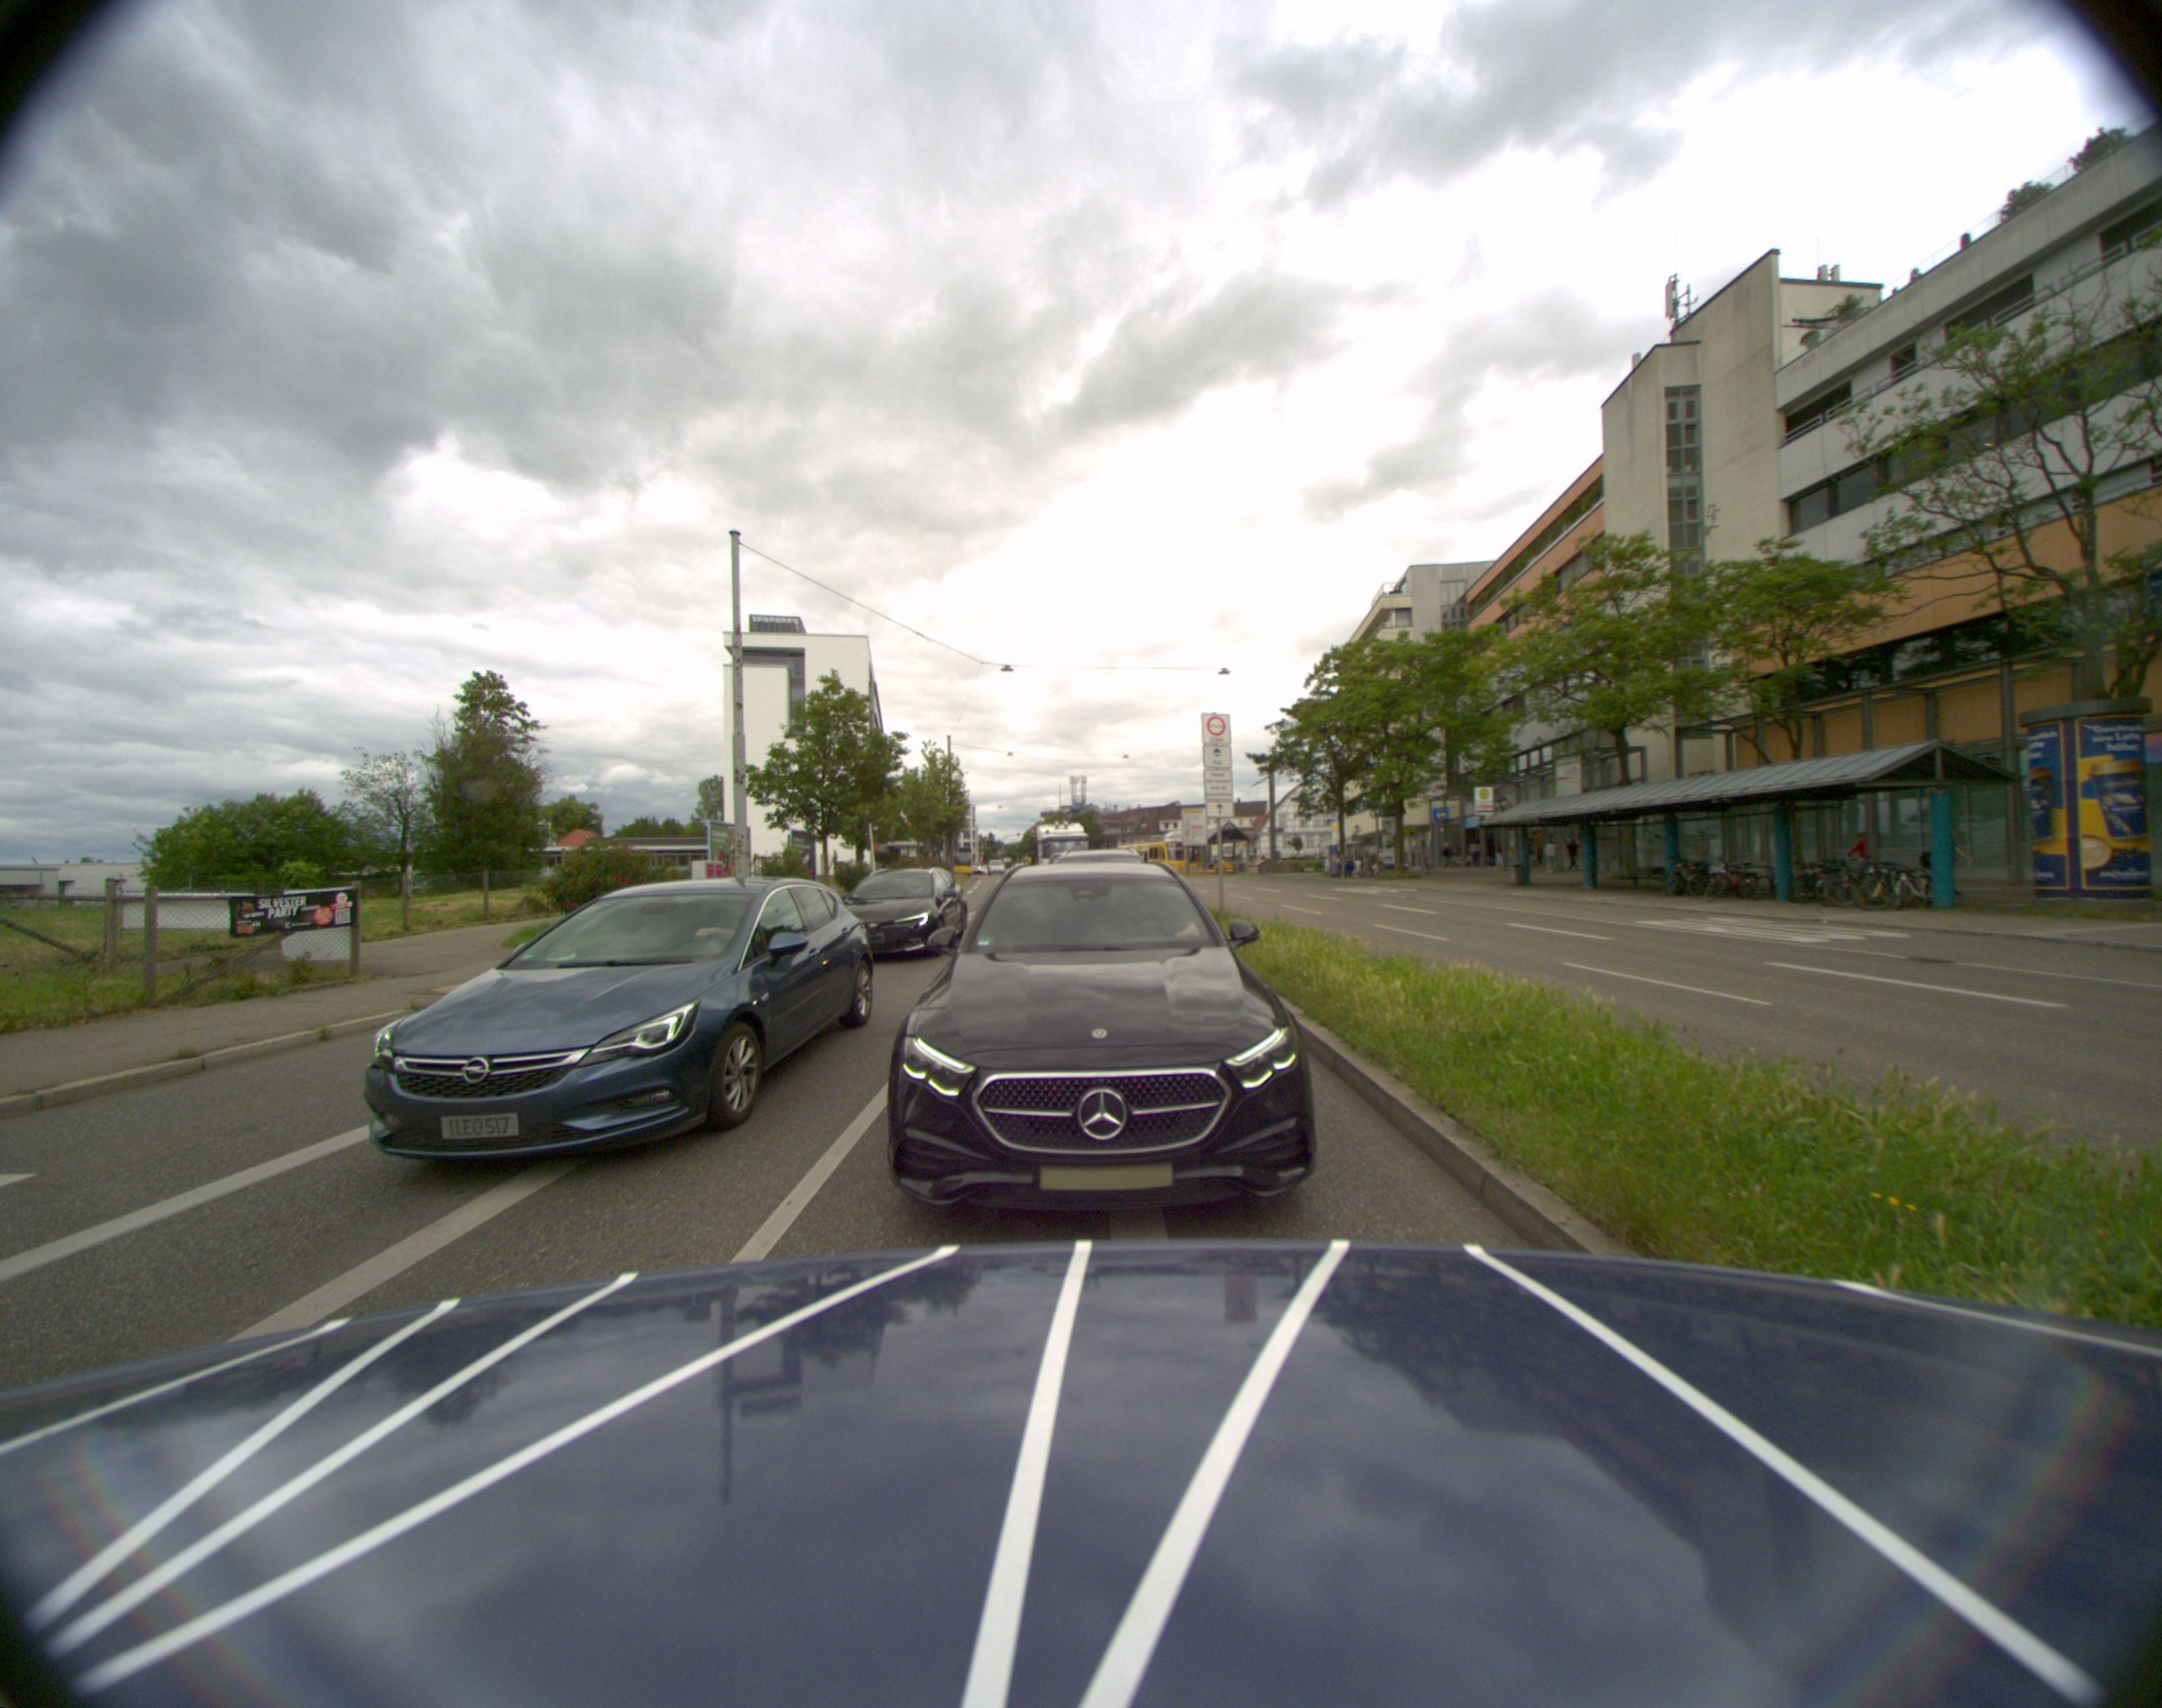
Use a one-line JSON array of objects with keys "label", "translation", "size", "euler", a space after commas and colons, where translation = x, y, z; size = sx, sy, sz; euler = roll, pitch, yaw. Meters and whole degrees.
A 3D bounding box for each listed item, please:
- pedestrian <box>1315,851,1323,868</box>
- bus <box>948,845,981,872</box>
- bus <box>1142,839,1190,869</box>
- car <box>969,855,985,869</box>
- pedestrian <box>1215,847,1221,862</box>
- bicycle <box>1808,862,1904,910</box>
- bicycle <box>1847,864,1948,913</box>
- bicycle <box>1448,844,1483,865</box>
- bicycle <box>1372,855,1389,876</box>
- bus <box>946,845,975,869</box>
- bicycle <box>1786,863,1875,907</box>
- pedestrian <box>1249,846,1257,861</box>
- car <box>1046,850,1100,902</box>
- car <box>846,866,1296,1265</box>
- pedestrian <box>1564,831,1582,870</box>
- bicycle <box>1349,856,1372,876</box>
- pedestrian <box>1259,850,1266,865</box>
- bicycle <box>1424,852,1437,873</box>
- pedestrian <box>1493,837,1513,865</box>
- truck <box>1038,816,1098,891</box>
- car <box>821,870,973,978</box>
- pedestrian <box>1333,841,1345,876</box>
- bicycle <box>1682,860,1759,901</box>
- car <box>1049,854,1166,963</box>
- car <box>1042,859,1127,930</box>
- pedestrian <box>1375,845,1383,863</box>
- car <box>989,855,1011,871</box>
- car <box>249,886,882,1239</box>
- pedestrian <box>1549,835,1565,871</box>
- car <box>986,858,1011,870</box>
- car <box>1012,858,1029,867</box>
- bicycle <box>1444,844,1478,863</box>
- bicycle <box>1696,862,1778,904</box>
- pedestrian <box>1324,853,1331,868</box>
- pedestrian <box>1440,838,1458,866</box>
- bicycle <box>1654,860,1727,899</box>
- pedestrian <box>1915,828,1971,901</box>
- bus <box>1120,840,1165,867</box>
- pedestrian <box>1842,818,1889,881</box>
[{"label": "pedestrian", "translation": [22.377, 0.496, 71.411], "size": [0.577, 1.533, 0.583], "euler": [-1, 1, -8]}, {"label": "bus", "translation": [-12.810, 0.396, 82.728], "size": [2.969, 2.616, 12.137], "euler": [-2, 1, -11]}, {"label": "bus", "translation": [8.706, 0.008, 79.015], "size": [2.556, 2.966, 8.498], "euler": [-1, 0, -11]}, {"label": "car", "translation": [-15.254, 1.136, 110.945], "size": [1.853, 1.875, 4.132], "euler": [-3, 0, -13]}, {"label": "pedestrian", "translation": [18.739, 0.110, 103.593], "size": [0.742, 2.002, 0.939], "euler": [-1, 1, 11]}, {"label": "bicycle", "translation": [18.629, 0.753, 18.283], "size": [1.735, 1.035, 0.549], "euler": [-3, 1, -2]}, {"label": "bicycle", "translation": [18.688, 0.785, 17.397], "size": [1.735, 1.035, 0.549], "euler": [-2, 1, -2]}, {"label": "bicycle", "translation": [26.999, 0.032, 53.399], "size": [2.139, 1.367, 0.620], "euler": [-2, 1, 18]}, {"label": "bicycle", "translation": [16.406, 0.624, 41.645], "size": [0.593, 1.071, 2.041], "euler": [0, 1, 29]}, {"label": "bus", "translation": [-15.215, 0.351, 95.051], "size": [2.969, 2.616, 12.911], "euler": [-2, 1, -11]}, {"label": "bicycle", "translation": [19.028, 0.775, 19.308], "size": [1.735, 1.035, 0.549], "euler": [-2, 1, -2]}, {"label": "pedestrian", "translation": [22.464, -0.069, 99.167], "size": [0.879, 2.002, 1.010], "euler": [-1, 1, 6]}, {"label": "car", "translation": [-0.363, 0.746, 28.345], "size": [1.865, 1.773, 3.999], "euler": [-1, 0, -2]}, {"label": "car", "translation": [-0.050, 0.886, 5.190], "size": [1.793, 1.507, 4.249], "euler": [-1, 0, 0]}, {"label": "pedestrian", "translation": [25.597, -0.201, 39.520], "size": [0.566, 2.002, 0.611], "euler": [-1, 1, 6]}, {"label": "bicycle", "translation": [15.483, 0.657, 42.017], "size": [0.593, 1.071, 2.041], "euler": [0, 1, 38]}, {"label": "pedestrian", "translation": [18.914, 0.376, 79.187], "size": [0.577, 1.533, 0.583], "euler": [-1, 1, -8]}, {"label": "bicycle", "translation": [19.491, 0.470, 42.384], "size": [0.593, 1.119, 2.040], "euler": [0, 1, 24]}, {"label": "pedestrian", "translation": [25.651, -0.175, 46.181], "size": [0.765, 1.673, 0.752], "euler": [-1, 1, 1]}, {"label": "truck", "translation": [-0.762, -0.040, 36.725], "size": [2.490, 3.258, 7.428], "euler": [-1, 0, -4]}, {"label": "car", "translation": [-3.008, 1.083, 13.244], "size": [1.665, 1.448, 3.921], "euler": [-2, 0, 0]}, {"label": "pedestrian", "translation": [17.186, 0.287, 50.677], "size": [0.590, 2.294, 0.608], "euler": [-1, 1, -2]}, {"label": "bicycle", "translation": [18.287, 0.745, 21.742], "size": [1.735, 1.035, 0.549], "euler": [-4, 1, -2]}, {"label": "car", "translation": [0.395, 0.823, 13.483], "size": [1.734, 1.601, 4.000], "euler": [-2, 0, 0]}, {"label": "car", "translation": [0.048, 0.913, 18.909], "size": [1.865, 1.520, 3.999], "euler": [-1, 0, -1]}, {"label": "pedestrian", "translation": [25.247, -0.008, 64.344], "size": [0.555, 1.485, 0.454], "euler": [-1, 1, 8]}, {"label": "car", "translation": [-8.657, 0.921, 80.879], "size": [1.853, 1.606, 3.779], "euler": [-3, 0, -13]}, {"label": "car", "translation": [-2.911, 1.052, 5.528], "size": [1.826, 1.402, 4.000], "euler": [-2, 0, 0]}, {"label": "pedestrian", "translation": [24.103, -0.046, 38.488], "size": [0.648, 1.799, 0.761], "euler": [0, 1, 34]}, {"label": "car", "translation": [-13.555, 1.643, 124.731], "size": [1.994, 1.811, 4.008], "euler": [0, 1, 33]}, {"label": "car", "translation": [-11.532, 1.597, 144.646], "size": [2.002, 1.811, 3.992], "euler": [-1, 0, -21]}, {"label": "bicycle", "translation": [27.762, -0.025, 55.551], "size": [2.138, 1.358, 0.620], "euler": [-2, 1, 26]}, {"label": "bicycle", "translation": [17.951, 0.791, 20.810], "size": [1.735, 1.035, 0.549], "euler": [-3, 1, -2]}, {"label": "pedestrian", "translation": [18.957, 0.499, 58.370], "size": [0.341, 1.172, 0.369], "euler": [-1, 1, -9]}, {"label": "pedestrian", "translation": [24.223, -0.141, 50.027], "size": [0.765, 1.835, 0.752], "euler": [-1, 1, 1]}, {"label": "bicycle", "translation": [18.208, 0.749, 22.702], "size": [1.735, 1.035, 0.549], "euler": [-3, 1, -2]}, {"label": "pedestrian", "translation": [21.648, 0.260, 19.094], "size": [0.531, 1.776, 0.770], "euler": [-1, 1, -7]}, {"label": "bus", "translation": [6.942, -0.038, 87.951], "size": [2.556, 2.966, 9.790], "euler": [-1, 0, -11]}, {"label": "pedestrian", "translation": [25.764, -0.153, 24.963], "size": [0.710, 2.002, 0.793], "euler": [-2, 1, -9]}]
